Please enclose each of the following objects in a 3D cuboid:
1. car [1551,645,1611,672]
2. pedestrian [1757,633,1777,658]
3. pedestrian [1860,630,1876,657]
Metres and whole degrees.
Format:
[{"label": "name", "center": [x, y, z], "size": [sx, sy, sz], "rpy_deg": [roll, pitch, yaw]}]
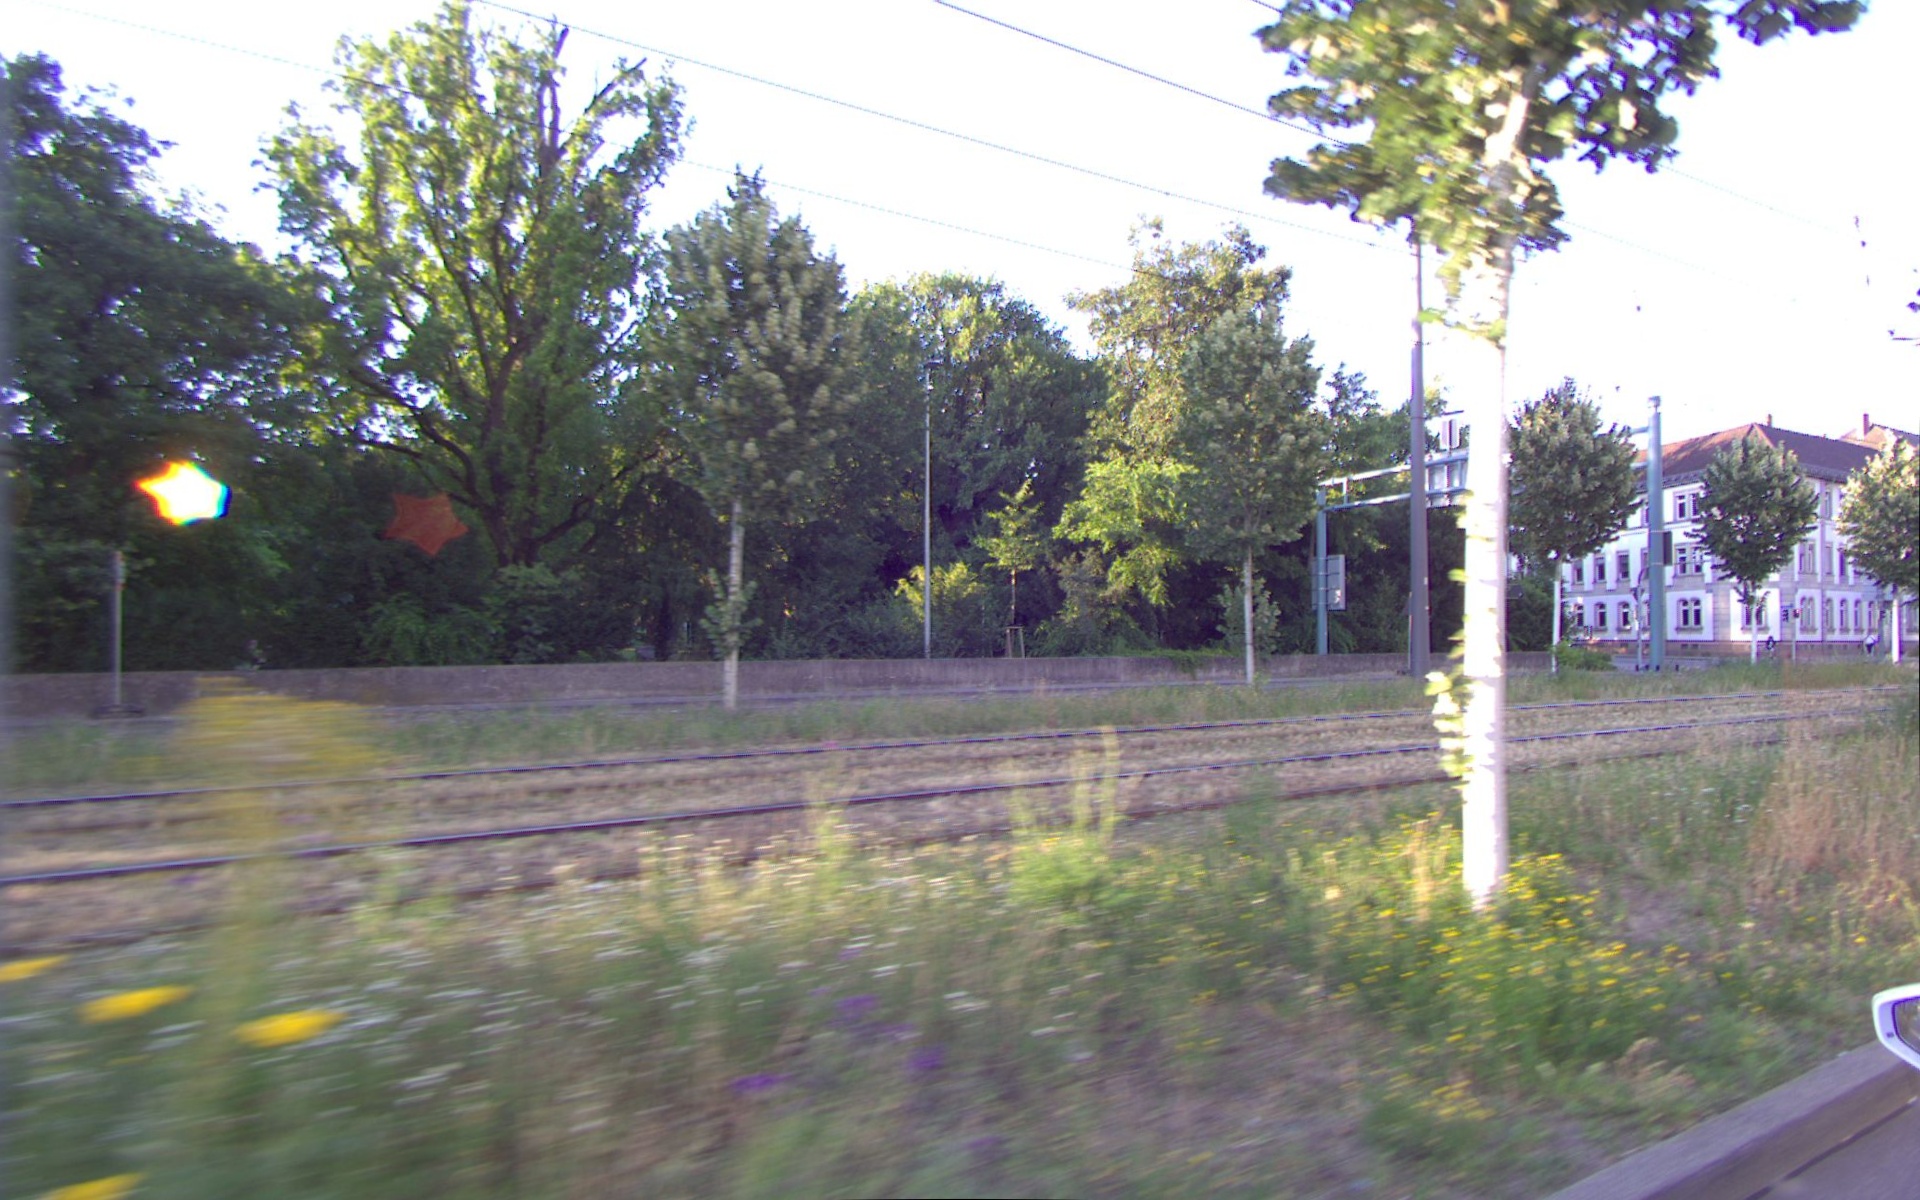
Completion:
[{"label": "car", "center": [43.511, 4.076, 70.452], "size": [1.754, 1.576, 4.000], "rpy_deg": [1, 0, 1]}, {"label": "pedestrian", "center": [48.841, 2.770, 60.772], "size": [0.924, 1.478, 0.601], "rpy_deg": [1, 0, -27]}, {"label": "pedestrian", "center": [61.182, 2.926, 67.686], "size": [0.693, 1.738, 0.809], "rpy_deg": [1, 1, 38]}]
